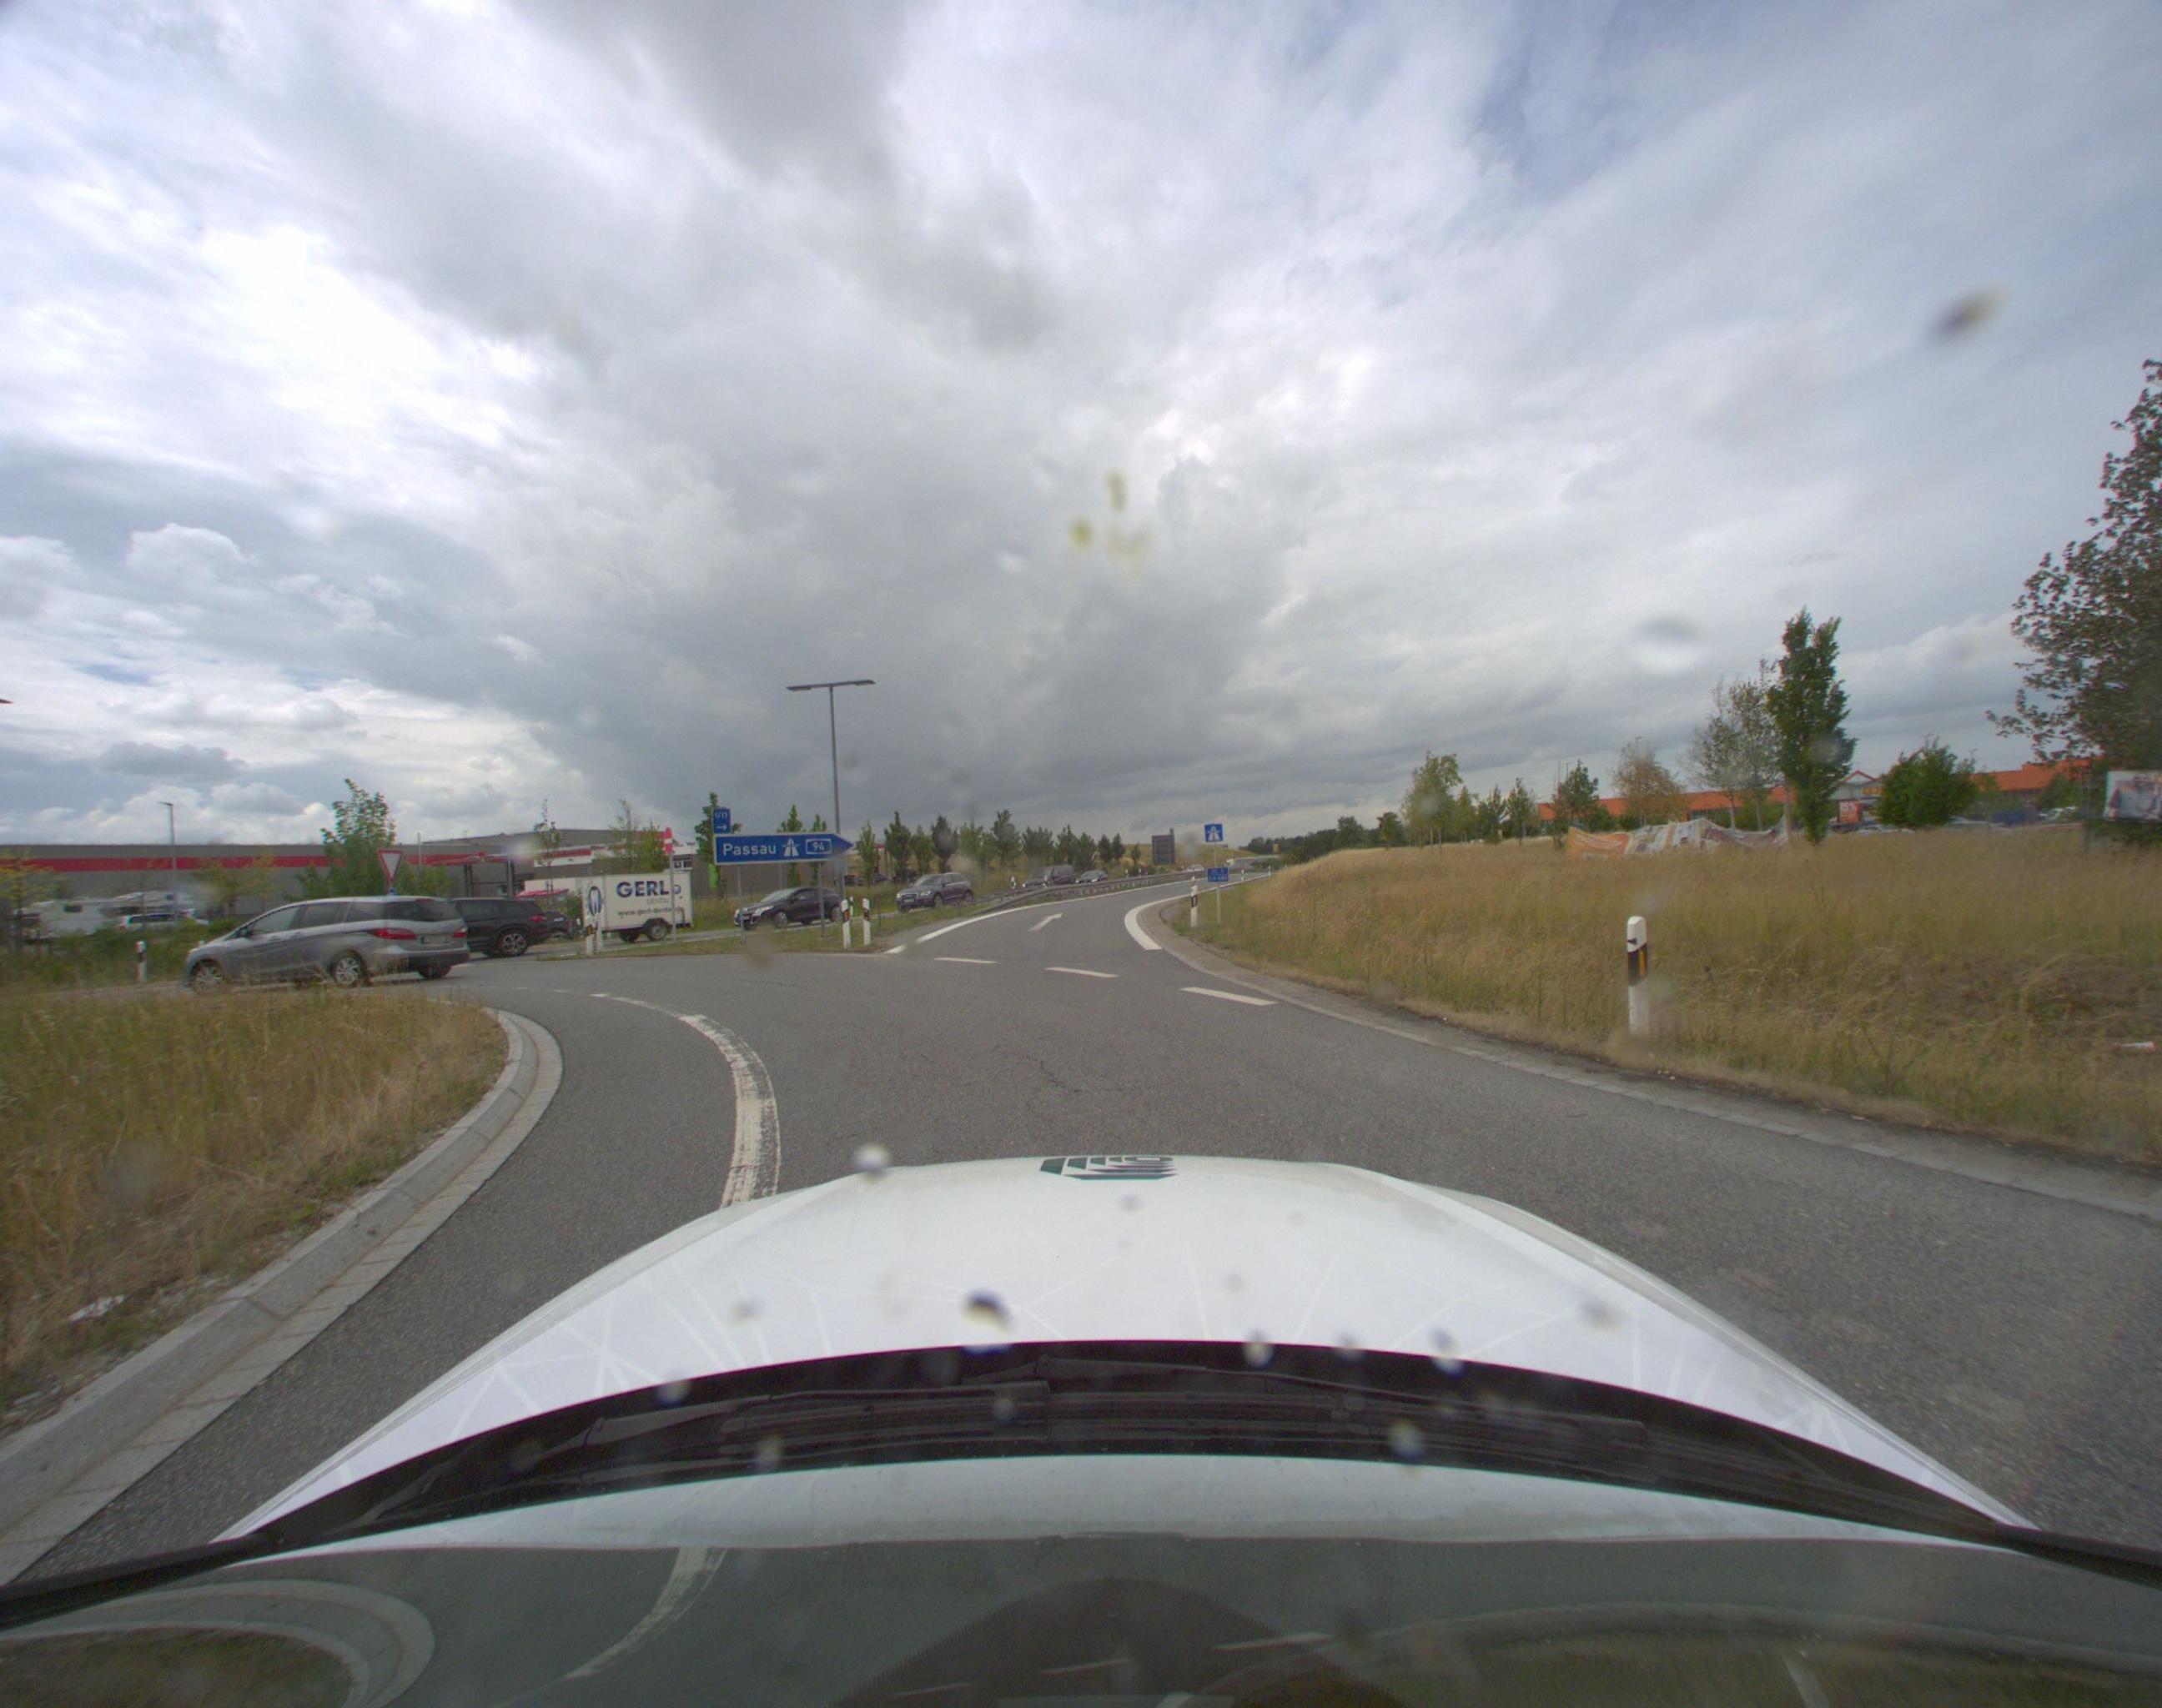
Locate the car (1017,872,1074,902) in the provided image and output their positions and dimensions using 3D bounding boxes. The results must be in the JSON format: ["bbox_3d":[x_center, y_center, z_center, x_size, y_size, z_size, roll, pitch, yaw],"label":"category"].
[{"bbox_3d":[-2.188,2.080,51.855,1.977,1.684,4.613,-4,-3,18],"label":"car"}]

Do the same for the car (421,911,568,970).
[{"bbox_3d":[-20.814,3.037,29.124,4.007,1.750,1.642,-1,-1,-26],"label":"car"}]

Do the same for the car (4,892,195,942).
[{"bbox_3d":[-64.958,4.109,54.237,2.443,2.820,7.723,-2,-1,17],"label":"car"}]

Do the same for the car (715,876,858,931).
[{"bbox_3d":[-10.585,1.738,29.617,1.974,1.684,4.621,-5,-3,32],"label":"car"}]

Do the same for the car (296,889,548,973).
[{"bbox_3d":[-16.806,1.868,21.015,1.974,1.760,4.712,-1,-1,38],"label":"car"}]

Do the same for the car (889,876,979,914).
[{"bbox_3d":[-6.491,1.810,36.473,1.715,1.491,4.567,-2,-1,23],"label":"car"}]

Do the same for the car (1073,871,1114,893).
[{"bbox_3d":[1.047,2.269,66.812,1.977,1.684,4.613,-4,-3,18],"label":"car"}]

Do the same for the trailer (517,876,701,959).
[{"bbox_3d":[-14.232,1.825,24.754,1.974,2.184,4.399,-2,-1,39],"label":"trailer"}]

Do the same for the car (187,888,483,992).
[{"bbox_3d":[-13.599,1.542,14.974,3.964,1.598,1.746,-2,0,6],"label":"car"}]

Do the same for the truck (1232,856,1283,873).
[{"bbox_3d":[54.993,3.202,254.318,15.187,4.961,3.457,-2,-1,9],"label":"truck"}]
